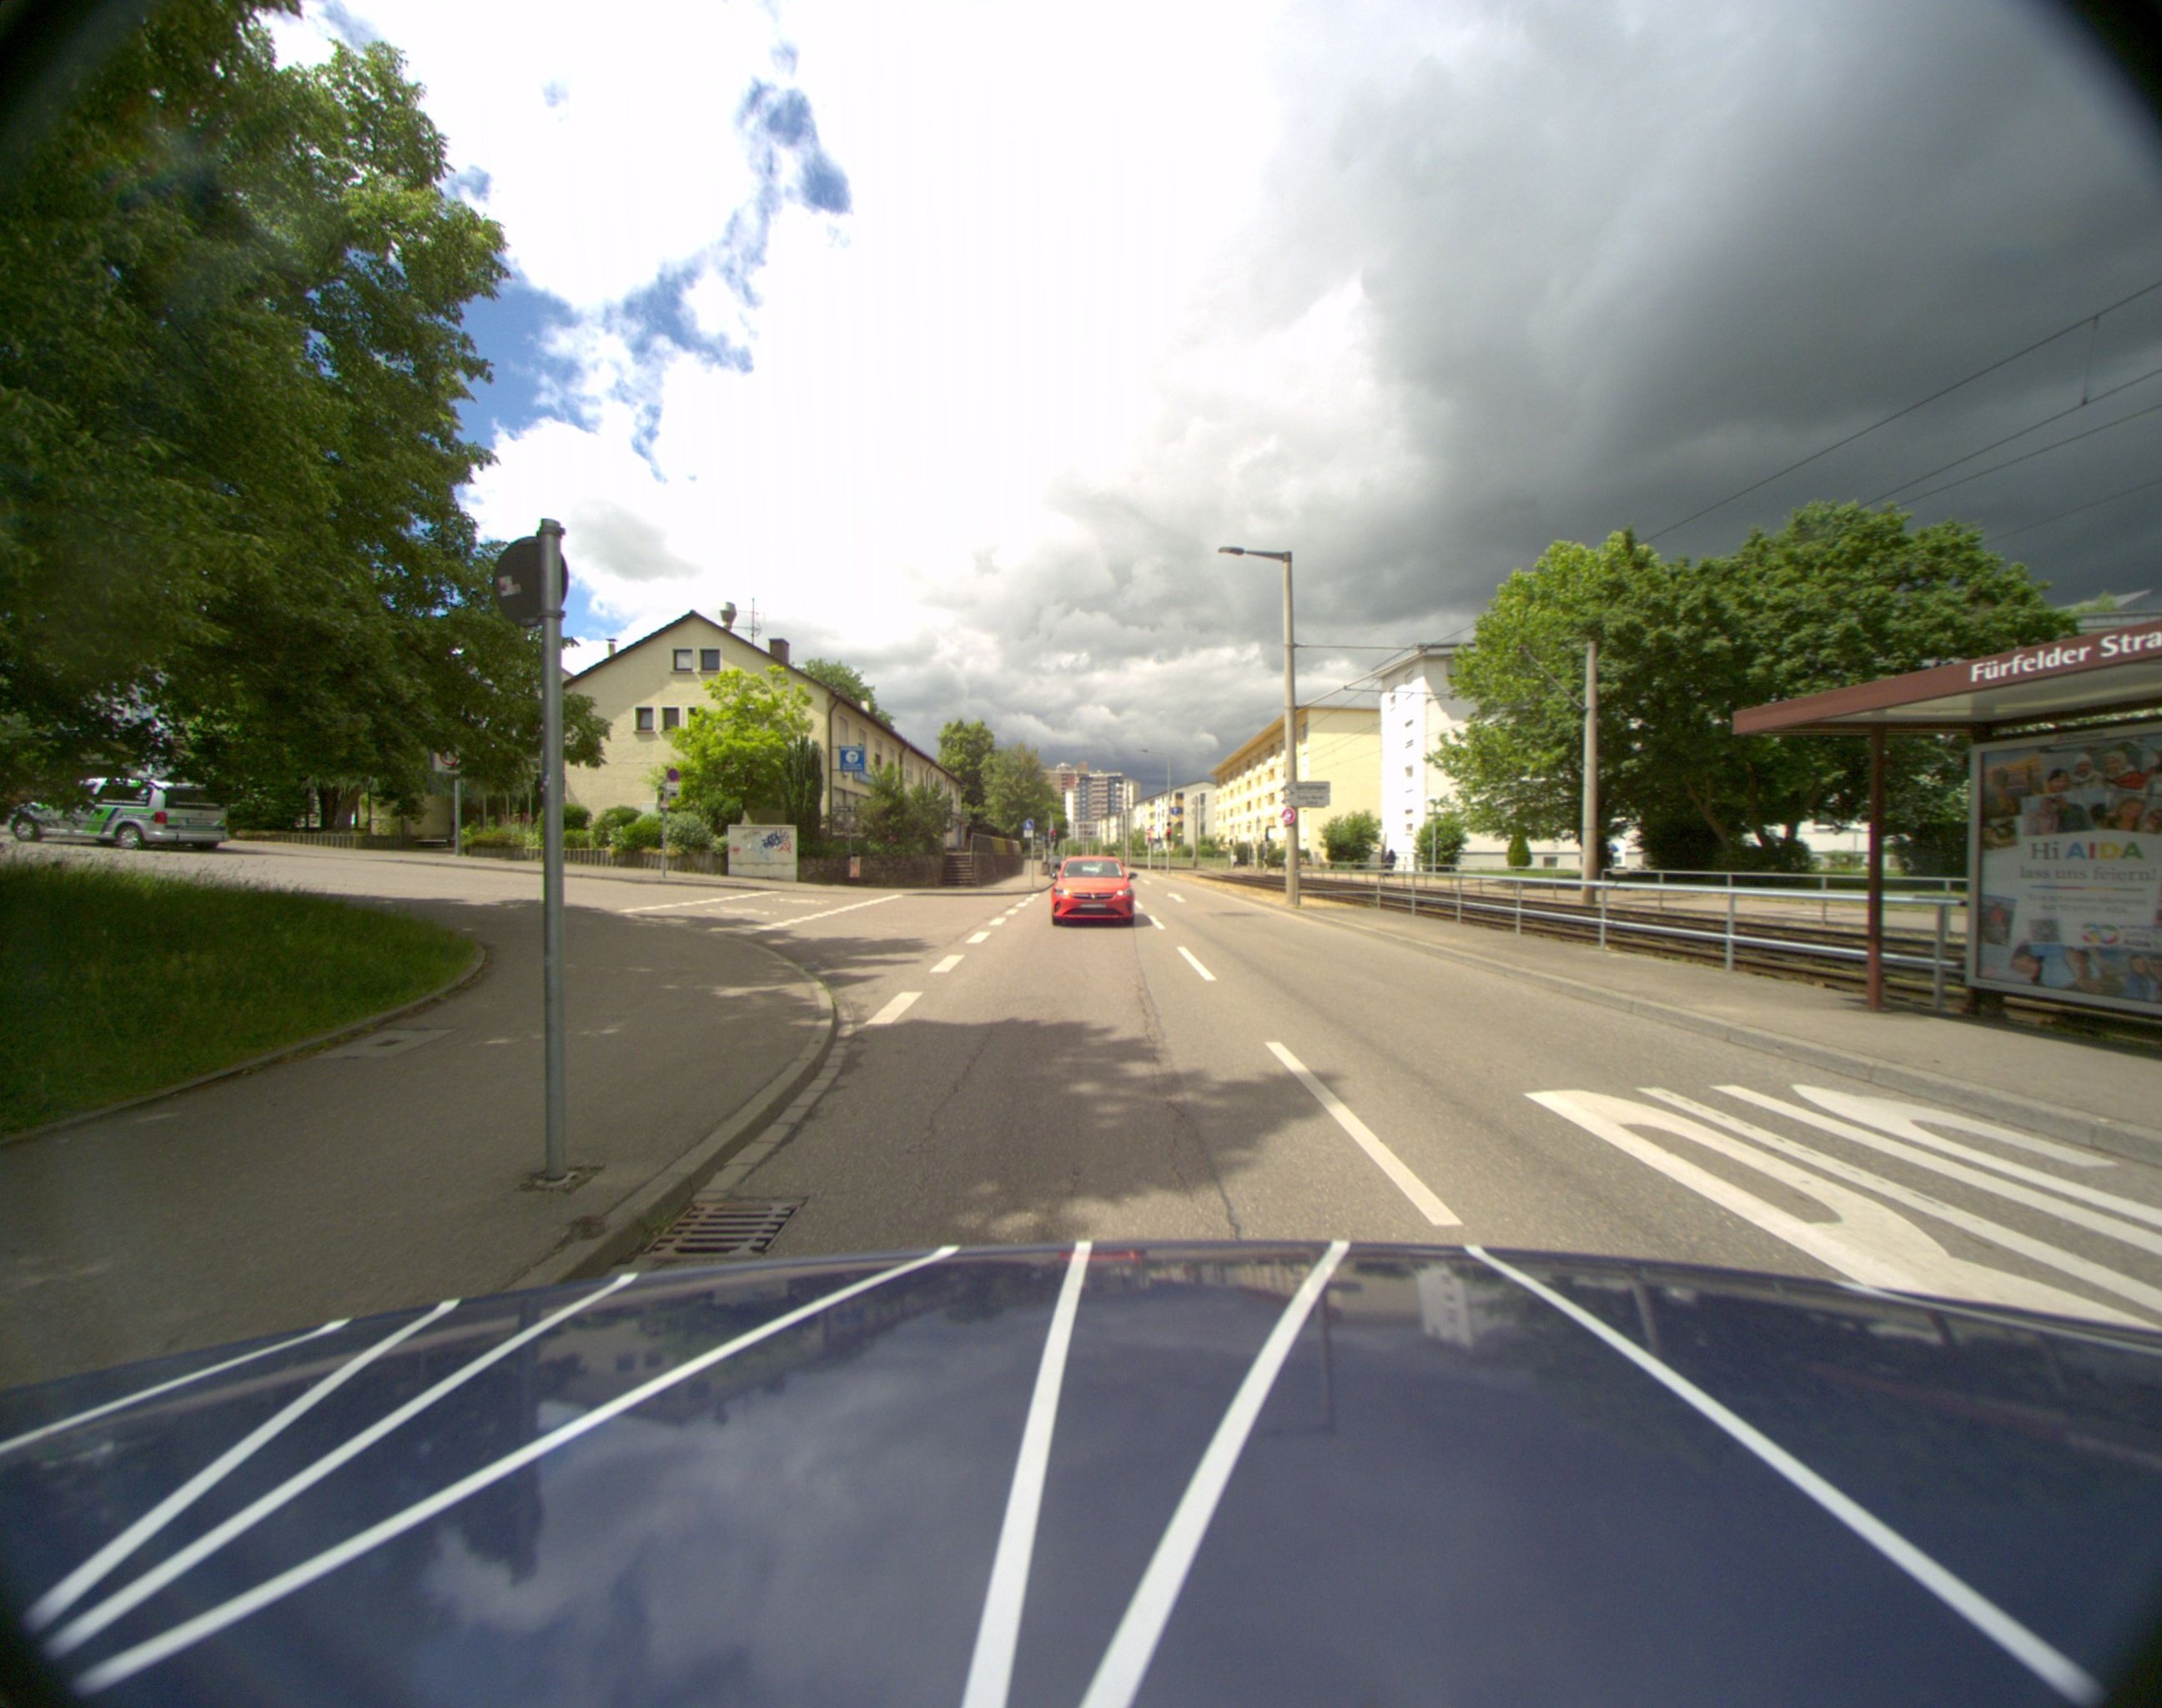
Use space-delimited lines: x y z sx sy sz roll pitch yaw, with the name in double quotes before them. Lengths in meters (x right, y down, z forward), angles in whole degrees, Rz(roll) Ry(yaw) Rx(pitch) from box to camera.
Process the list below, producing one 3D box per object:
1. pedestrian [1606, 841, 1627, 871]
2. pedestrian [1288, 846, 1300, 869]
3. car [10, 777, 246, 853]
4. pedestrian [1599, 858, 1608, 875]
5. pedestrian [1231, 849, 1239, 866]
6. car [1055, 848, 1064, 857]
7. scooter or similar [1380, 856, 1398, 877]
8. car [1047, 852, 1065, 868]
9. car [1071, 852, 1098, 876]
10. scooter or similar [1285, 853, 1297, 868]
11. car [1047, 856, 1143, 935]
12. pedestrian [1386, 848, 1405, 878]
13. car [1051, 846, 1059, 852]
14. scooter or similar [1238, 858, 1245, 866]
"pedestrian" 28.165 0.111 39.977 0.685 1.534 0.514 -2 6 6
"pedestrian" 15.917 0.242 56.830 0.647 1.683 0.679 -1 1 0
"car" -24.962 -0.986 20.001 3.997 1.707 1.690 3 1 -1
"pedestrian" 27.840 0.687 40.463 0.329 0.878 0.256 -2 6 11
"pedestrian" 14.572 0.343 71.935 0.605 1.598 0.773 -2 1 -1
"car" -5.856 -0.435 207.422 2.237 2.460 5.084 0 0 -3
"scooter or similar" 16.392 0.662 40.480 0.606 1.108 0.821 -1 1 -1
"car" -2.626 0.639 79.005 1.760 1.570 4.020 0 0 -3
"car" 0.199 0.608 48.160 1.499 1.477 3.519 0 0 -3
"scooter or similar" 15.914 0.476 57.625 0.609 1.156 0.891 -1 1 0
"car" 0.183 0.819 16.999 1.784 1.434 4.129 -2 1 -3
"pedestrian" 16.406 0.441 39.614 0.614 1.531 0.874 -1 1 -1
"car" -8.108 -1.553 235.739 2.237 2.050 4.360 0 0 -3
"scooter or similar" 15.231 0.733 72.033 0.534 0.769 0.666 -2 1 -1
